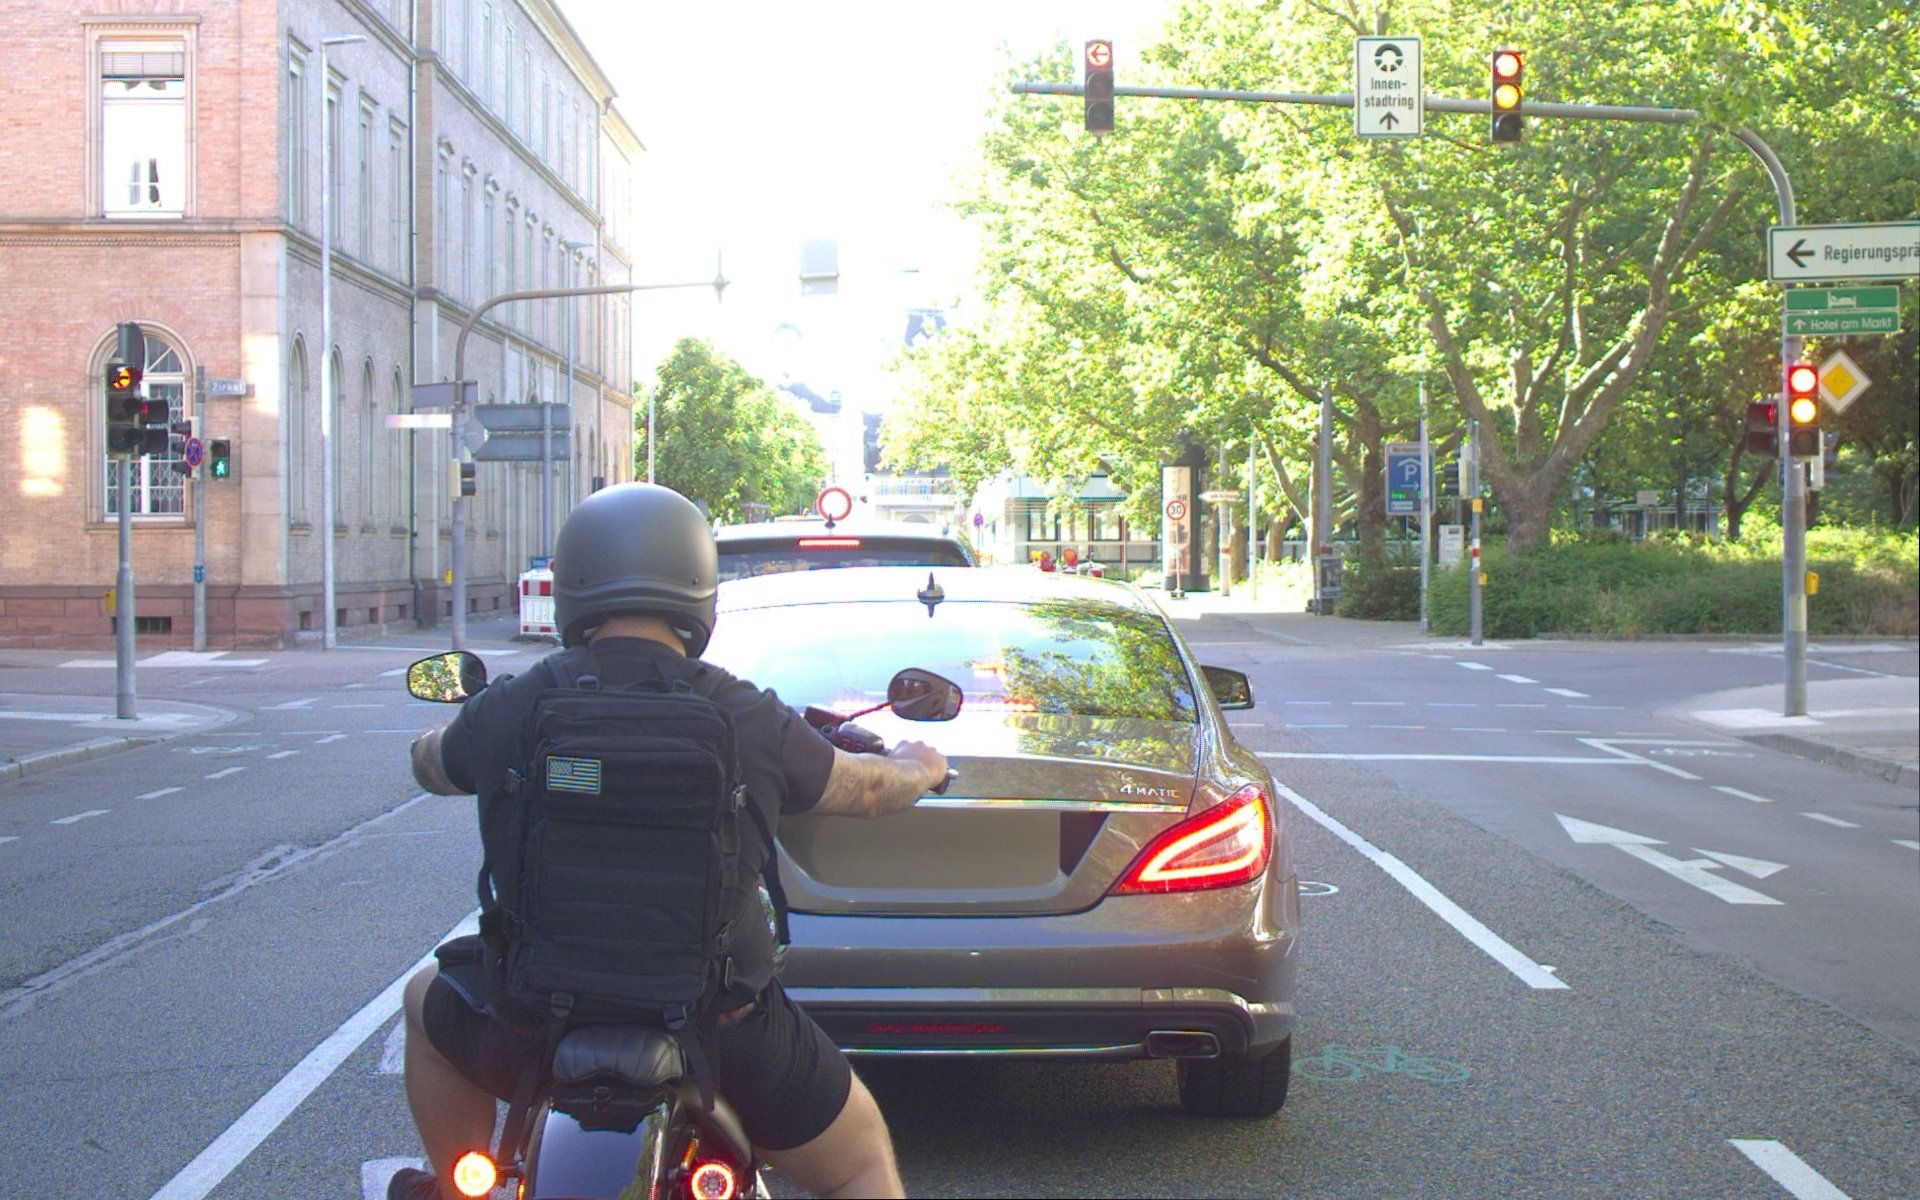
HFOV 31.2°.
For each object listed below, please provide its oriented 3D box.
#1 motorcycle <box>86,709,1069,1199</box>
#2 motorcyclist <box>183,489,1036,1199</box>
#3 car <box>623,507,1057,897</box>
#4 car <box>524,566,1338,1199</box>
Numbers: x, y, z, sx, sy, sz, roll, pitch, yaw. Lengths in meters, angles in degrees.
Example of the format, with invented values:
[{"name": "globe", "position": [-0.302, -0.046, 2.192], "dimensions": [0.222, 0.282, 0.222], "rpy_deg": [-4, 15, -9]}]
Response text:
[{"name": "motorcycle", "position": [-0.469, 0.831, 5.512], "dimensions": [1.118, 1.203, 2.212], "rpy_deg": [1, 1, 6]}, {"name": "motorcyclist", "position": [-0.484, 0.628, 5.289], "dimensions": [1.099, 1.560, 1.071], "rpy_deg": [1, 0, 6]}, {"name": "car", "position": [-0.545, 0.426, 16.955], "dimensions": [1.863, 1.672, 4.000], "rpy_deg": [1, 1, -1]}, {"name": "car", "position": [-0.086, 0.633, 9.677], "dimensions": [1.822, 1.432, 3.806], "rpy_deg": [1, 1, -1]}]
